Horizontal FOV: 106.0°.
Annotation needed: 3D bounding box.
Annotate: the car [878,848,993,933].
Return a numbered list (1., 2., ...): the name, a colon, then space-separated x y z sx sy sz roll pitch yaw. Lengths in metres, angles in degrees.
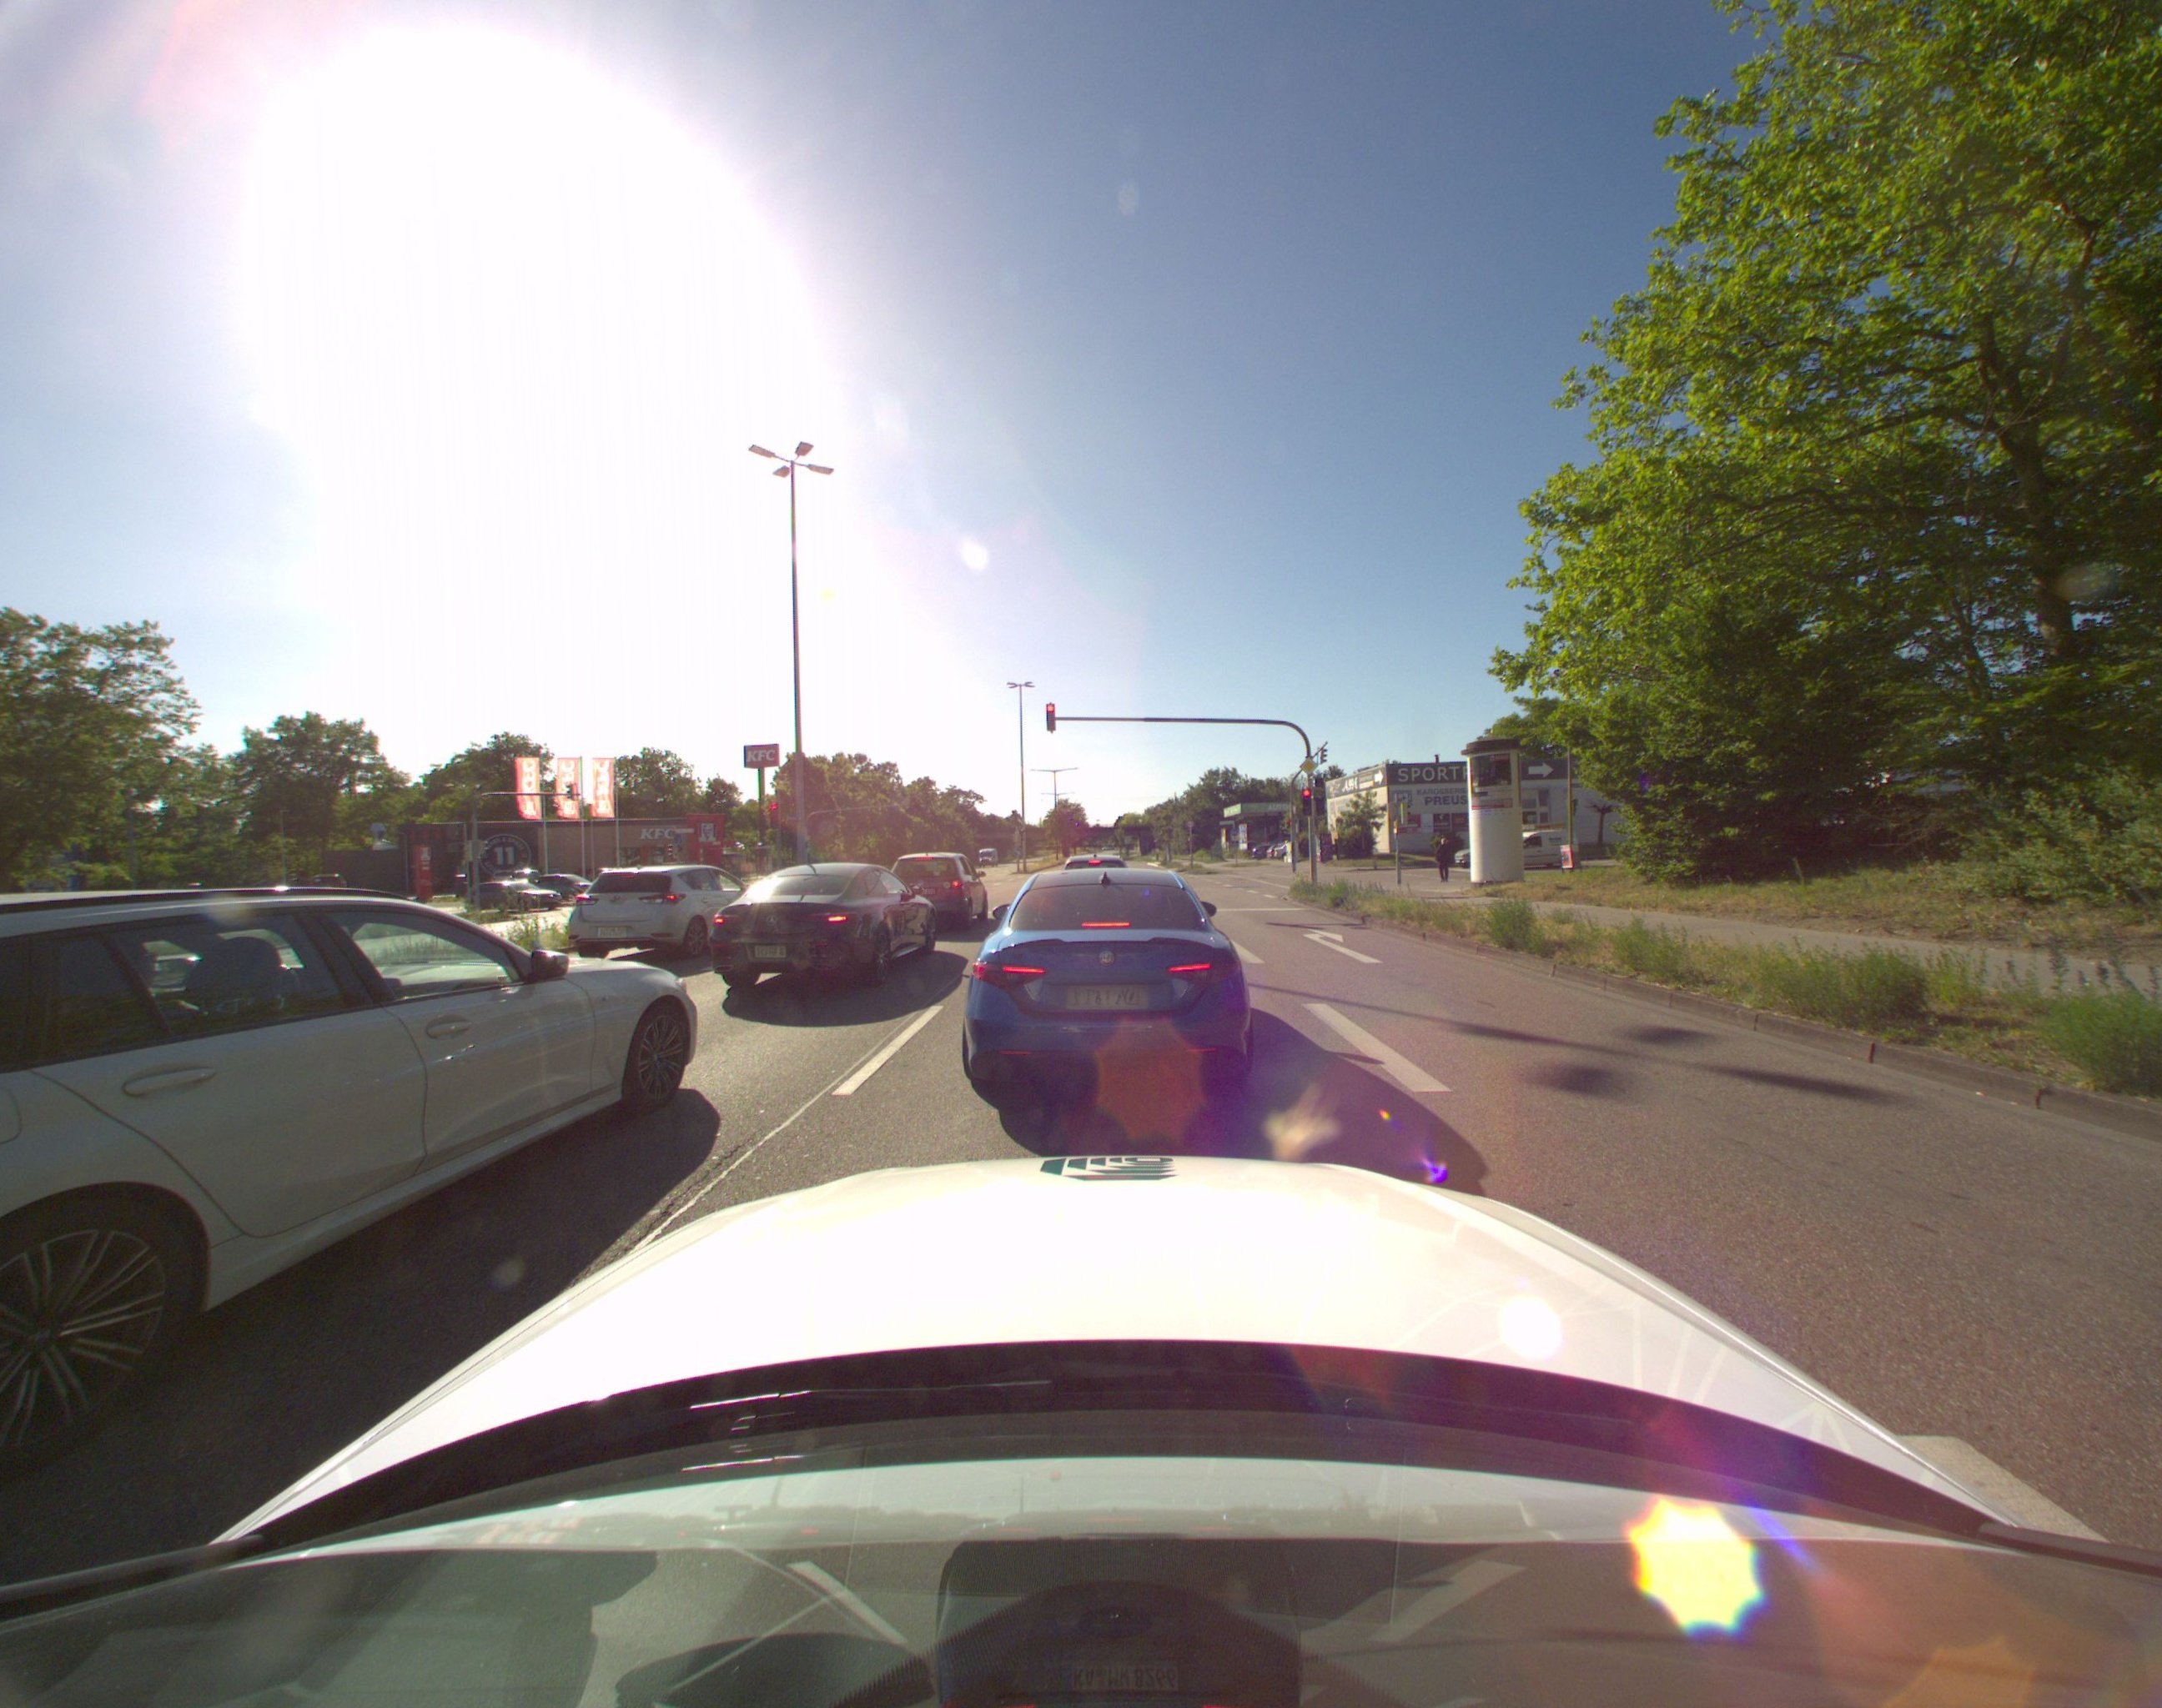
1. car: -3.022 0.698 17.735 1.642 1.598 3.933 -1 0 2

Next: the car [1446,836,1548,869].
1. car: 21.957 -0.085 43.067 4.393 1.553 1.999 -1 0 -2

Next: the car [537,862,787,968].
1. car: -6.835 0.905 13.939 1.850 1.429 4.405 -1 0 2

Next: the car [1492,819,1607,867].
1. car: 22.635 -0.525 39.468 4.393 2.145 1.999 -1 0 -2

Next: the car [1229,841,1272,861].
1. car: 15.389 -0.258 73.972 3.489 1.706 1.687 -2 0 -14

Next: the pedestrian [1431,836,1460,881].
1. pedestrian: 14.245 0.177 31.847 0.818 1.721 0.856 -2 0 9

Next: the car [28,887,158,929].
1. car: -46.527 2.517 38.394 3.972 1.728 1.759 -1 0 1

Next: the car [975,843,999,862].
1. car: -12.705 -0.229 110.509 2.423 2.427 5.831 -2 0 0

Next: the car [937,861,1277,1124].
1. car: 0.203 0.786 6.483 1.859 1.385 3.933 -1 0 2

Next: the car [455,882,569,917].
1. car: -26.253 2.089 37.635 4.017 1.429 1.827 -2 0 5

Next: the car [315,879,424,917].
1. car: -36.569 2.248 41.945 4.020 1.782 1.826 -1 0 3

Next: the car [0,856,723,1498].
1. car: -3.427 0.796 3.365 1.762 1.509 4.463 -1 0 2

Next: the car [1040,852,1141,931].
1. car: 0.235 0.700 17.201 1.859 1.450 3.933 -1 0 2

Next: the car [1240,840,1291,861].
1. car: 16.046 -0.294 70.763 3.997 1.706 1.685 -1 0 -18

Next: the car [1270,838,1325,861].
1. car: 17.516 -0.364 65.869 3.993 1.706 1.687 -2 0 -15

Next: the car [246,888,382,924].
1. car: -36.175 2.443 38.479 4.701 1.429 1.865 -2 0 2

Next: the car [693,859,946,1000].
1. car: -3.140 0.812 10.837 1.762 1.414 4.463 -1 0 2

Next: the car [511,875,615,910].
1. car: -26.479 1.969 41.716 4.028 1.595 1.823 -1 0 -3
